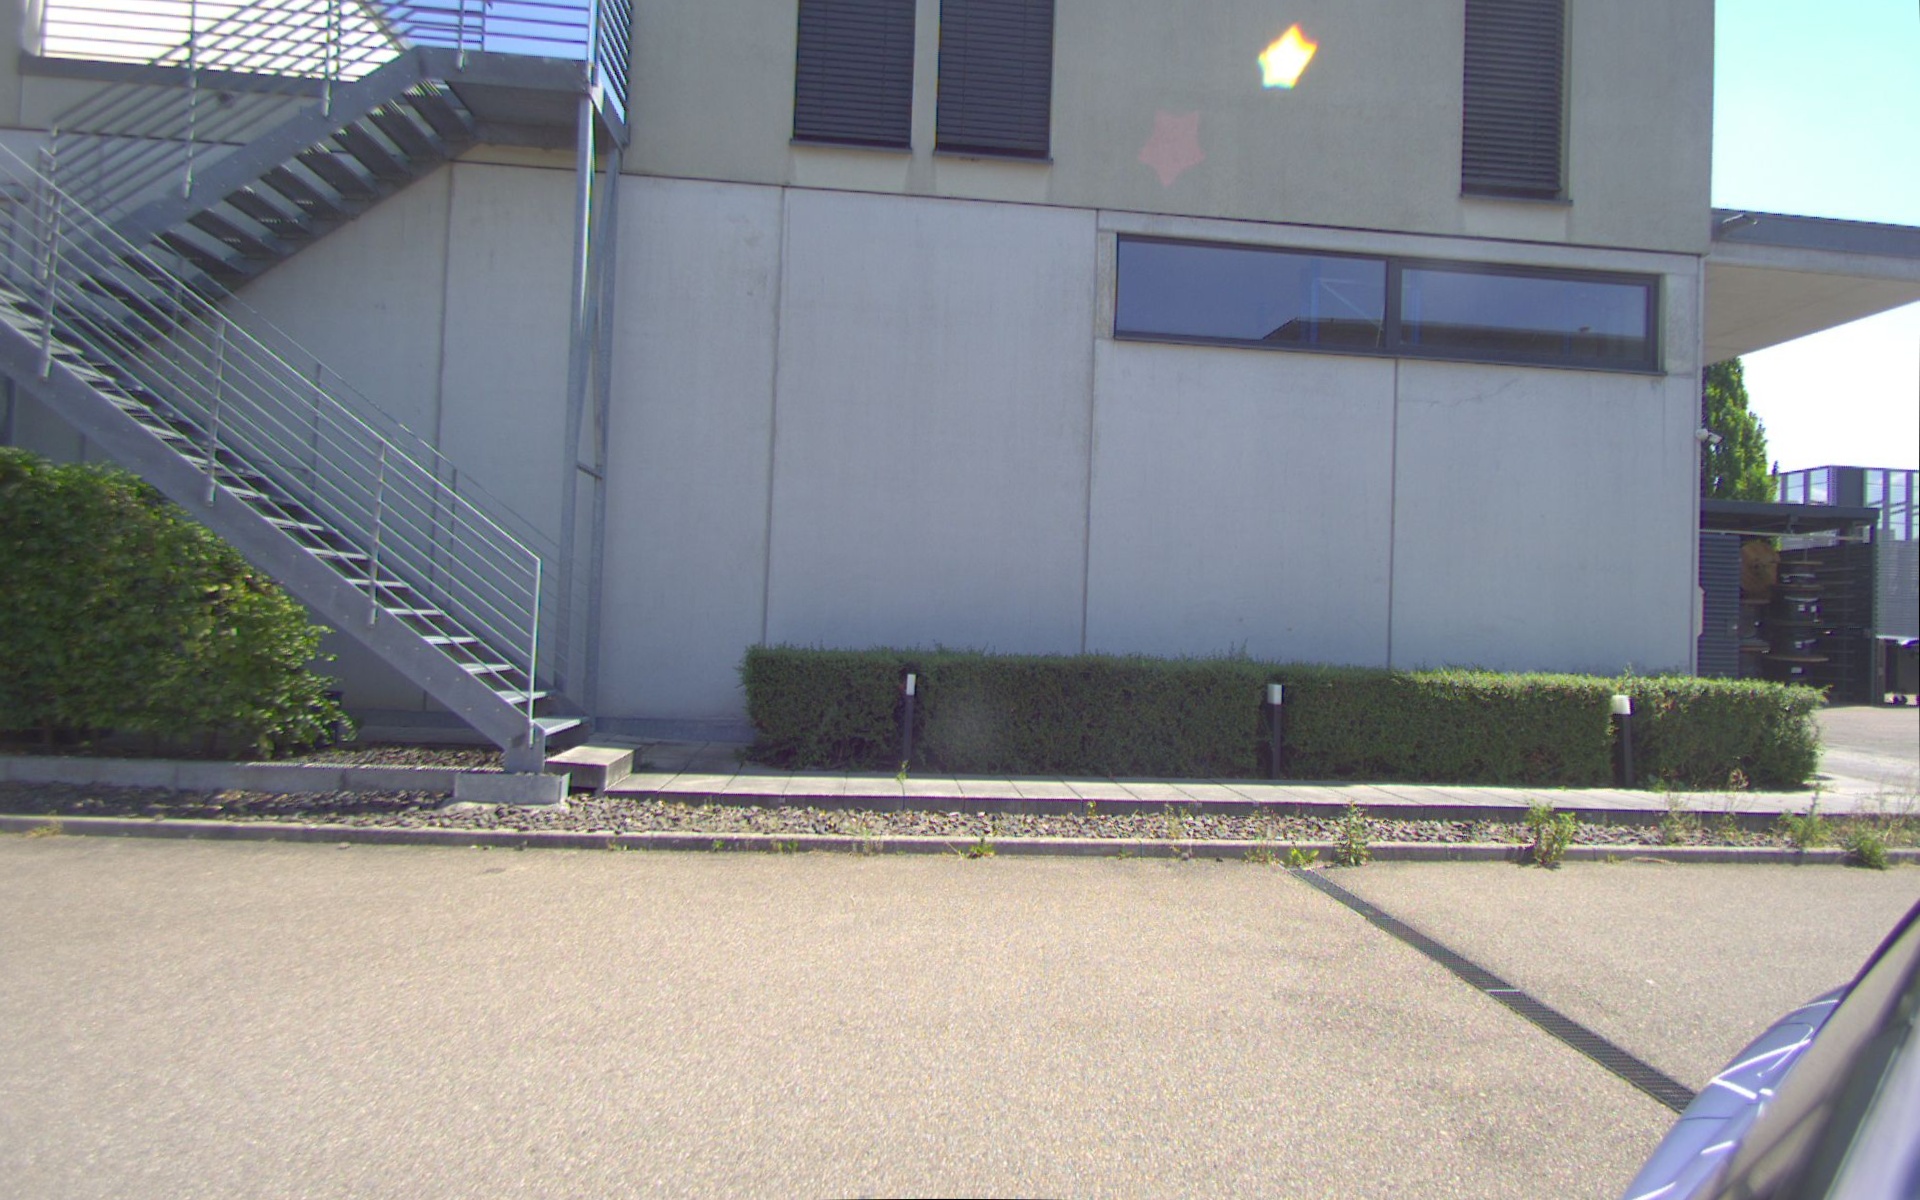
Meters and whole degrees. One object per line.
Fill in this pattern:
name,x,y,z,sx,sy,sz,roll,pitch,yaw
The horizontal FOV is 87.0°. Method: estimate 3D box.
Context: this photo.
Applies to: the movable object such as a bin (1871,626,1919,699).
movable object such as a bin,17.279,1.123,18.315,0.787,1.265,0.876,1,0,3
